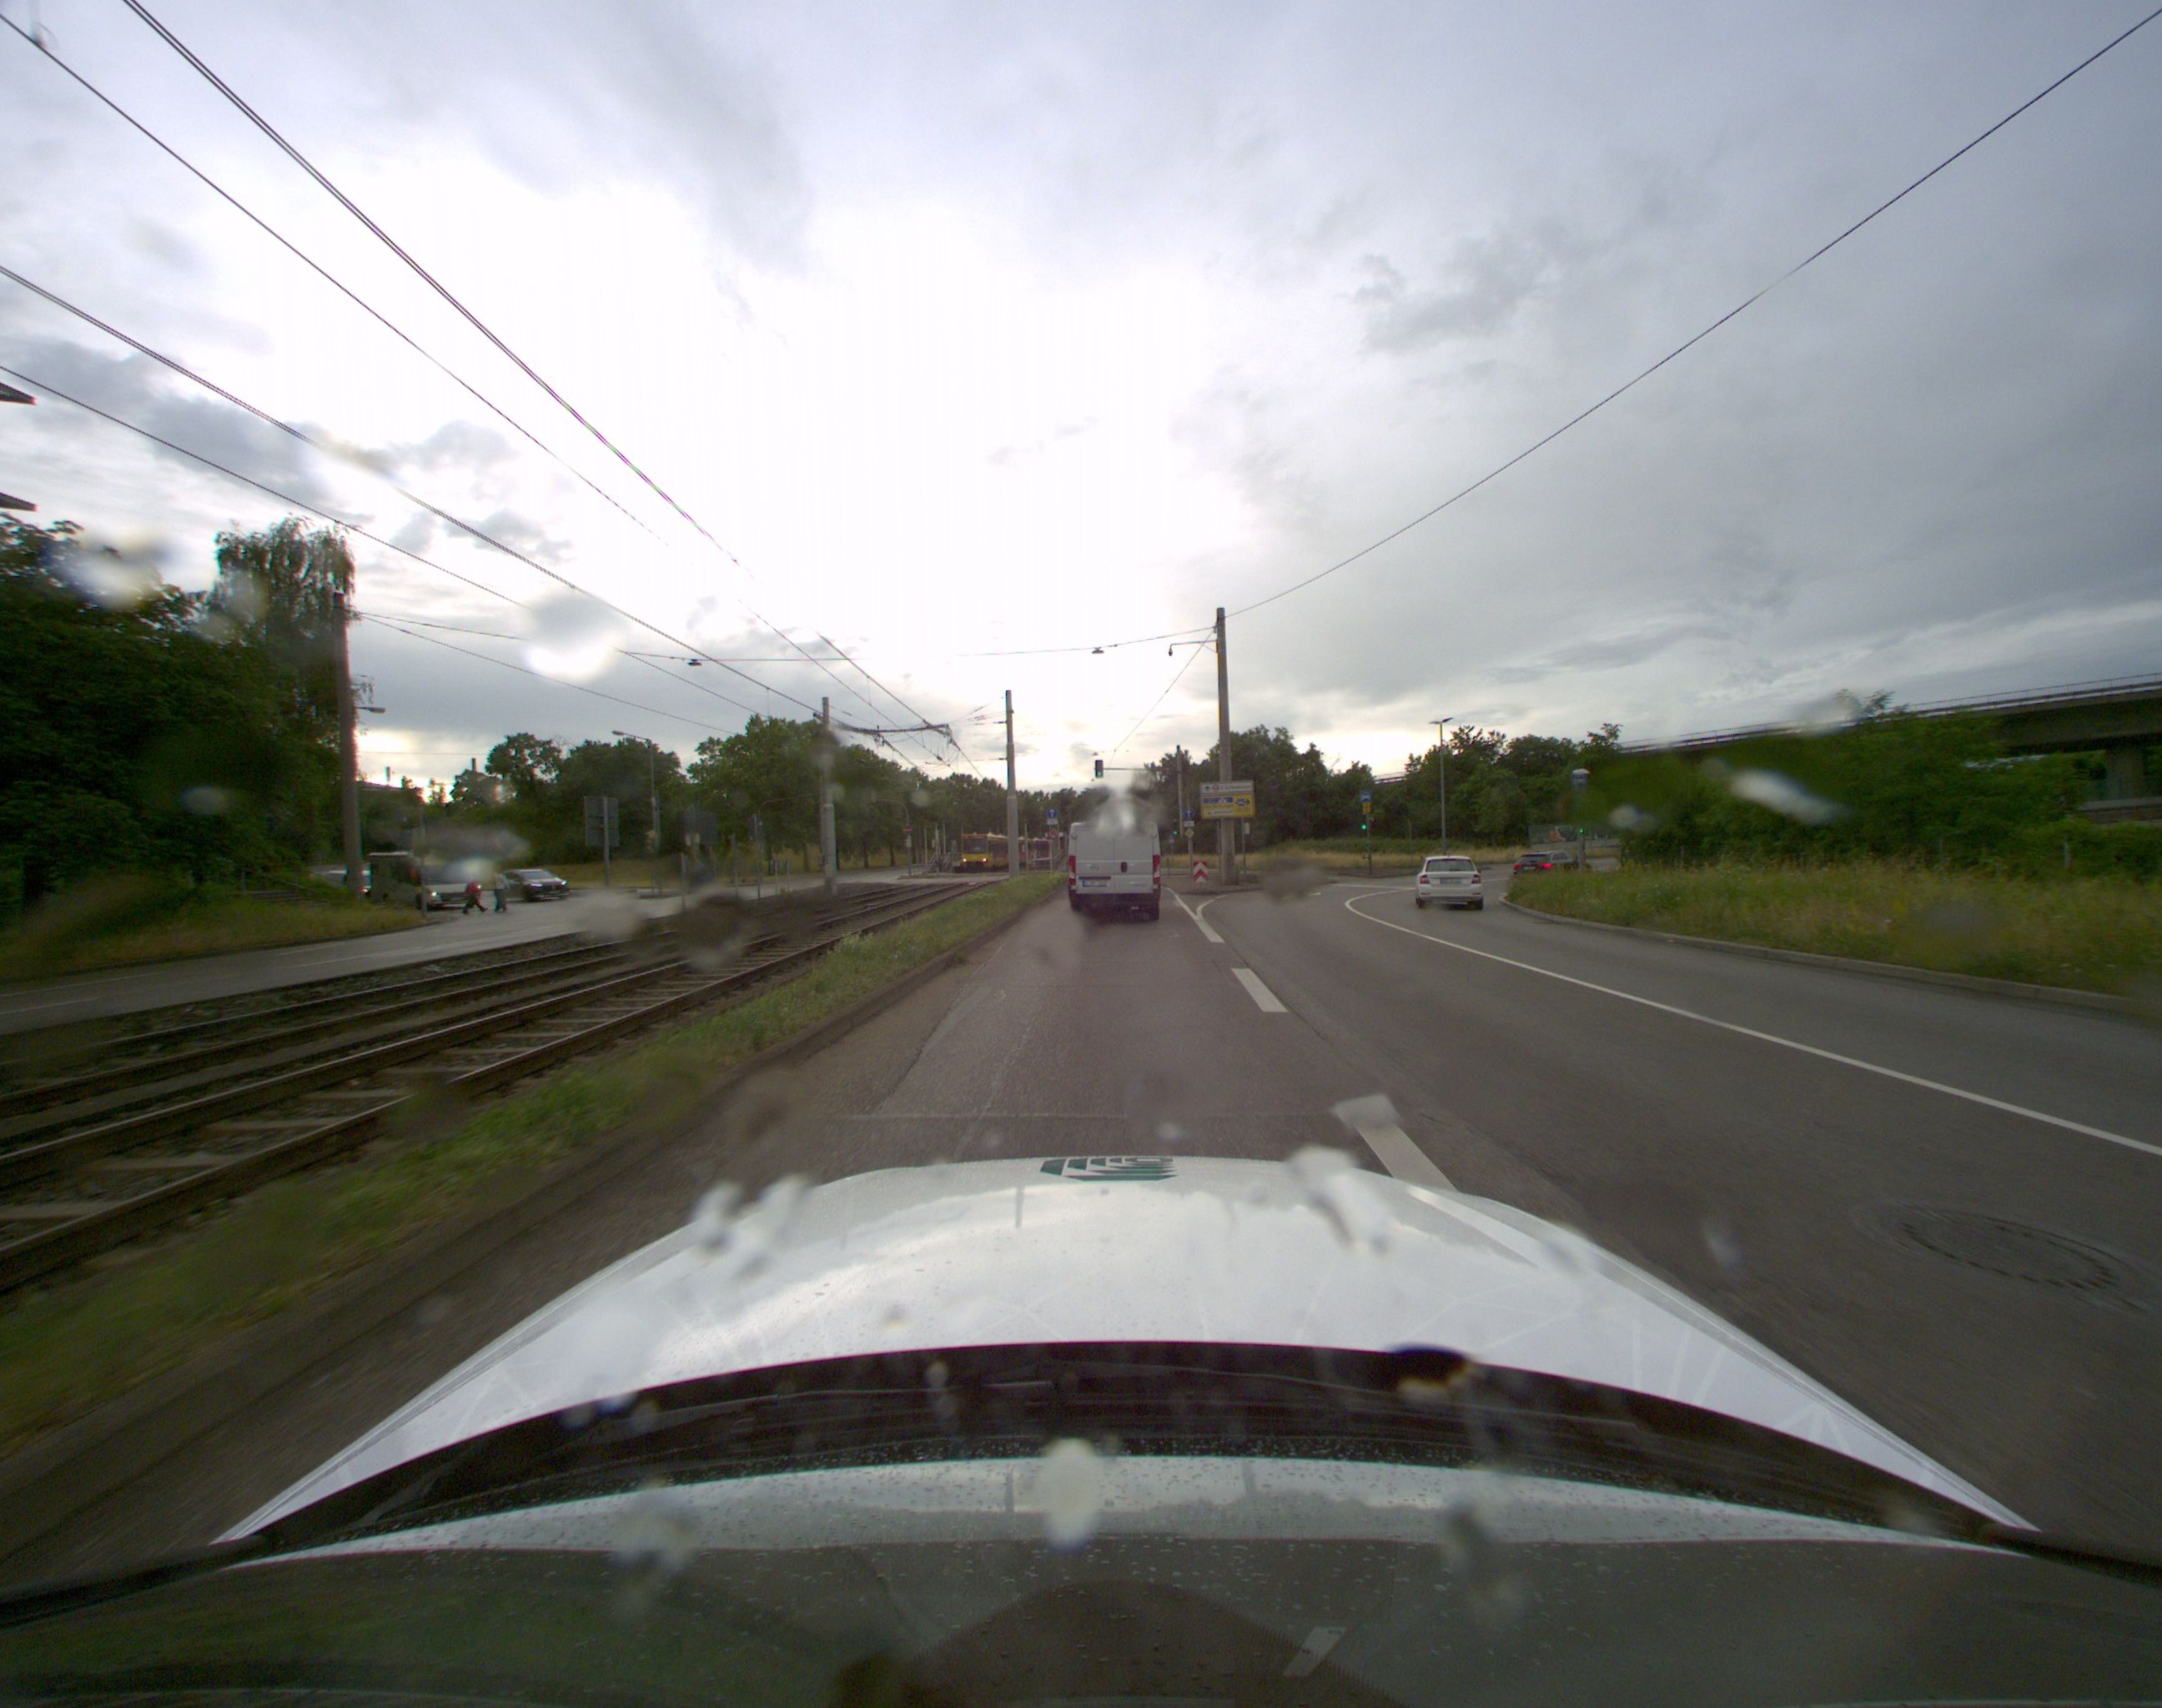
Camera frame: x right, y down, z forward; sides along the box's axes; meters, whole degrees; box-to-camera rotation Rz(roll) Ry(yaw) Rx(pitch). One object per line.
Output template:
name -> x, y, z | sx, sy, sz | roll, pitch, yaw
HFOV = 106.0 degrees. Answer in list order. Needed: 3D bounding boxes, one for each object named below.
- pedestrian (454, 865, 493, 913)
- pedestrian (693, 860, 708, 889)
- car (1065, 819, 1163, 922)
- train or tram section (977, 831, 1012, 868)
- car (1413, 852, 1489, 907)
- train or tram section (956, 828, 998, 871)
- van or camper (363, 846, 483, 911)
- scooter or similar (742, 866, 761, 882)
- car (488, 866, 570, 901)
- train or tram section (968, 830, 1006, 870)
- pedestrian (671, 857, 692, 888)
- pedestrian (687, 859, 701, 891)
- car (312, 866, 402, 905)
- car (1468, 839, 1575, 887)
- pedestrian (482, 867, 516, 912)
pedestrian -> -26.059, 1.491, 34.948 | 0.882, 2.013, 0.947 | -2, 0, 7
pedestrian -> -24.068, 1.293, 51.565 | 0.504, 1.787, 0.833 | 0, 0, 4
car -> 0.692, 0.342, 19.977 | 2.084, 2.196, 5.059 | 0, 0, -1
train or tram section -> -9.450, -0.448, 89.751 | 2.918, 3.933, 7.007 | 0, 0, 1
car -> 10.488, 0.679, 23.301 | 1.732, 1.457, 3.690 | 0, -1, 21
train or tram section -> -9.741, -0.405, 77.124 | 2.918, 3.933, 7.007 | 0, 0, 1
van or camper -> -33.203, 1.198, 40.985 | 7.279, 2.966, 2.507 | -1, 1, 33
scooter or similar -> -24.910, 1.520, 61.582 | 0.375, 1.161, 1.288 | -2, 1, 44
car -> -29.895, 1.564, 44.072 | 4.571, 1.732, 2.013 | -1, 1, 32
train or tram section -> -9.597, -0.427, 83.505 | 2.918, 3.933, 7.007 | 0, 0, 1
pedestrian -> -26.167, 1.202, 53.374 | 0.886, 2.013, 0.864 | -2, 0, -6
pedestrian -> -24.556, 1.327, 51.680 | 0.493, 1.955, 0.722 | 0, 0, 3
car -> -40.017, 1.747, 45.020 | 4.469, 2.013, 2.012 | -1, 1, 25
car -> 20.132, 0.377, 37.255 | 3.995, 1.534, 1.902 | -9, 4, -14
pedestrian -> -25.012, 1.526, 35.022 | 0.630, 1.867, 0.956 | -2, 0, 8
